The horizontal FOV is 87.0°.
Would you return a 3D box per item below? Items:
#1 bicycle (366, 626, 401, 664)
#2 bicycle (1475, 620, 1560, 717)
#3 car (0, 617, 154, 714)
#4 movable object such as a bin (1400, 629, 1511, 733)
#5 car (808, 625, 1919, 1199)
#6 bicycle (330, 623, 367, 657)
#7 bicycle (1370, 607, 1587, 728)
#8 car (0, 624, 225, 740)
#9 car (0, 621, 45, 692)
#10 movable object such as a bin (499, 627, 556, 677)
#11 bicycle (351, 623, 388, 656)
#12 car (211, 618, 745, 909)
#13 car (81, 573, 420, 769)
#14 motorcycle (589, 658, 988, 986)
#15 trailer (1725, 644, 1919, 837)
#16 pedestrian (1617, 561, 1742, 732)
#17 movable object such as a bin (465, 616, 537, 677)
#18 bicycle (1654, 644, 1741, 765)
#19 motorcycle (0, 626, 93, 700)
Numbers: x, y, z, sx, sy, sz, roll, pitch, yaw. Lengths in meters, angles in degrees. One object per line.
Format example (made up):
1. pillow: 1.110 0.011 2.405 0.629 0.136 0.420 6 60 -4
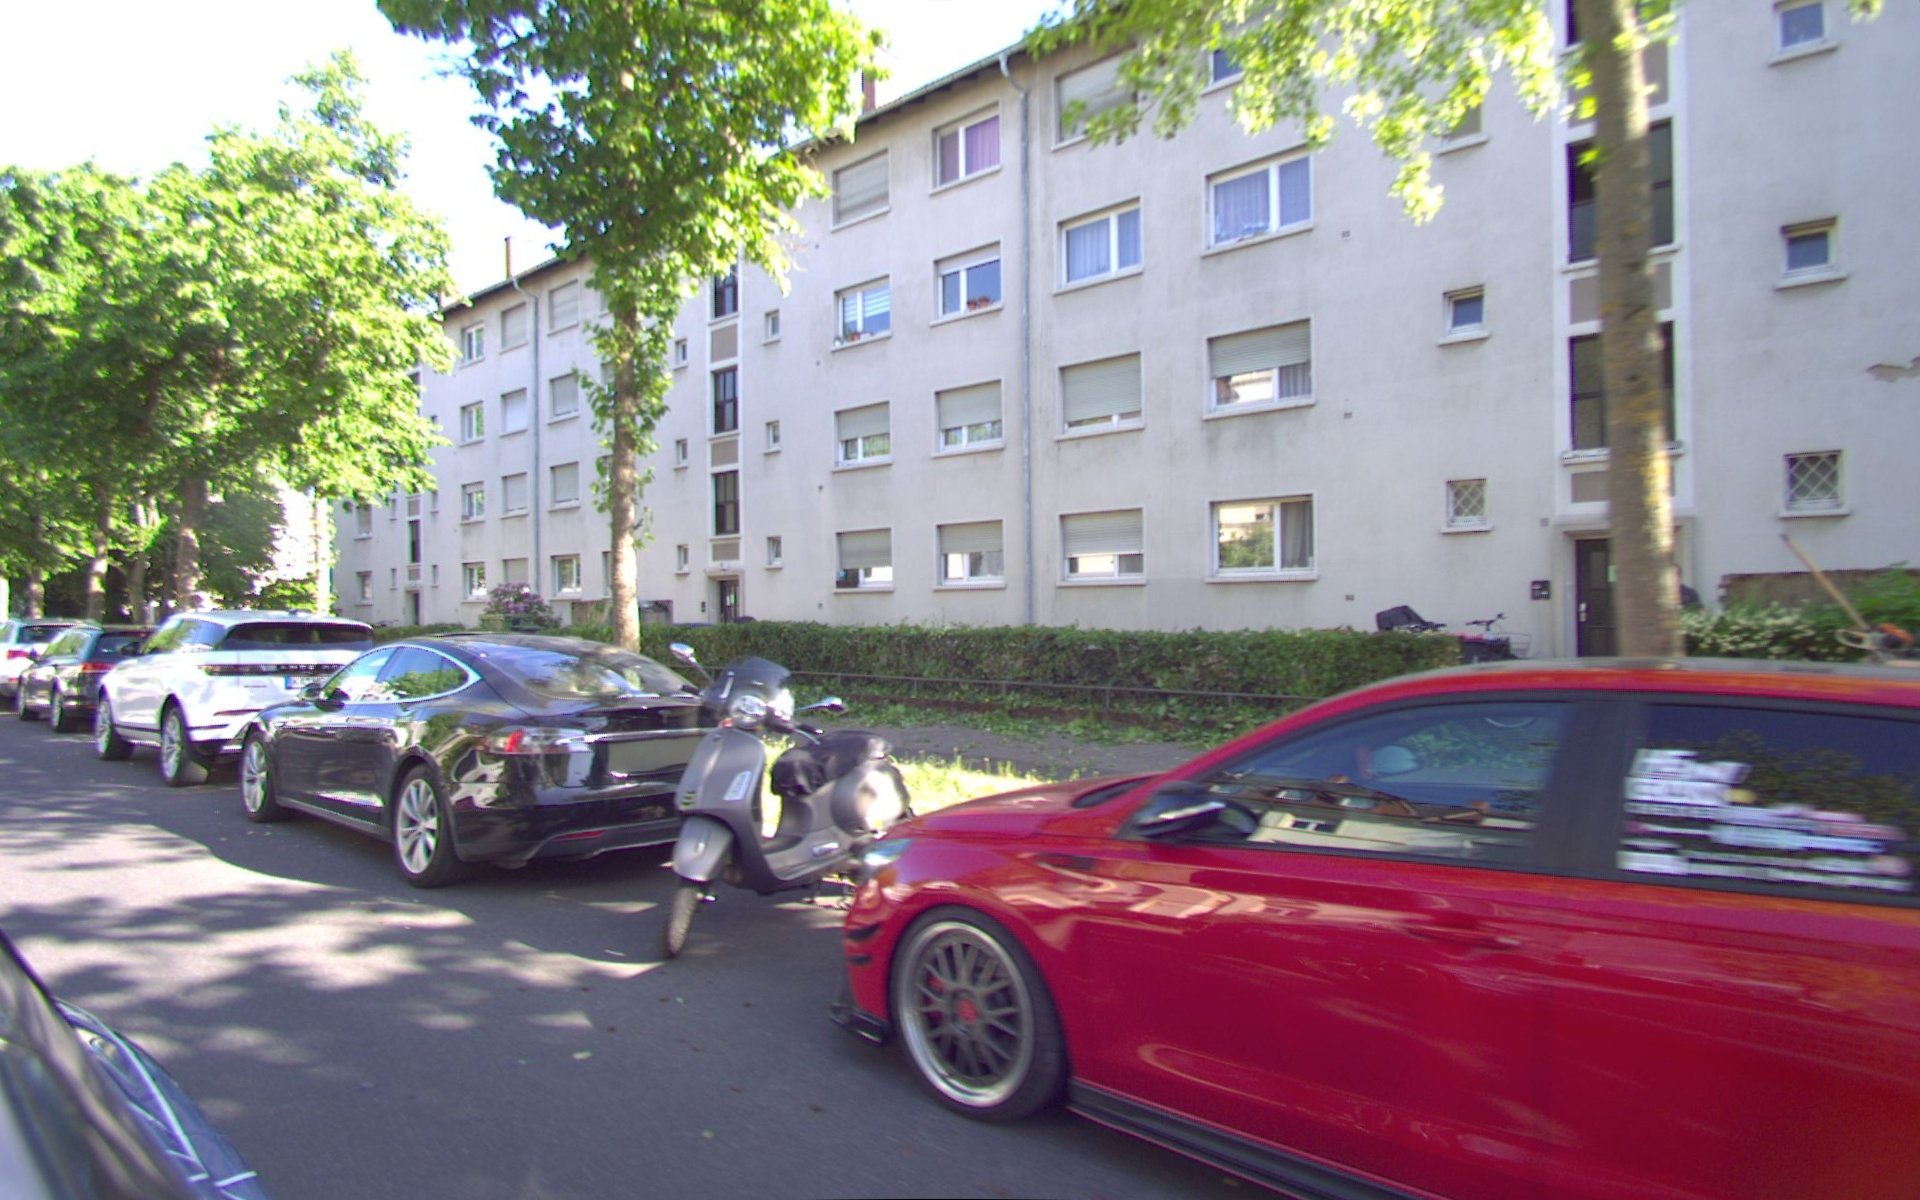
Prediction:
1. bicycle: -20.042 1.545 35.195 1.912 1.299 0.394 -1 -2 39
2. bicycle: 6.935 0.814 12.560 0.587 1.086 1.726 -1 0 40
3. car: -16.708 1.114 18.464 4.714 1.536 2.045 -2 -1 37
4. movable object such as a bin: 5.252 0.827 10.723 0.843 1.041 0.873 -2 -2 42
5. car: 1.676 0.780 2.728 4.259 1.389 1.761 -1 -3 40
6. bicycle: -22.841 1.485 37.802 1.911 1.210 0.678 -2 -2 42
7. bicycle: 5.839 0.723 11.453 1.978 1.240 1.082 -2 -2 42
8. car: -12.711 1.133 15.021 4.815 1.458 1.711 -2 -4 39
9. car: -22.762 1.278 23.274 4.603 1.536 2.022 -1 -1 41
10. movable object such as a bin: -9.675 1.149 22.668 0.753 1.100 0.922 -1 -2 34
11. bicycle: -22.381 1.478 38.330 1.911 1.210 0.678 -2 -2 42
12. car: -3.720 0.933 7.374 4.615 1.489 1.710 -1 -5 40
13. car: -7.465 0.652 10.485 4.361 1.630 1.711 -1 -3 39
14. motorcycle: -0.738 0.963 5.291 0.805 1.280 2.270 -1 -3 29
15. trailer: 6.628 0.825 5.935 3.280 1.041 1.770 -1 -1 42
16. pedestrian: 8.525 0.533 11.993 0.922 1.902 1.027 1 -2 -44
17. movable object such as a bin: -10.548 1.050 23.262 1.376 1.334 0.922 -1 -2 35
18. bicycle: 6.851 0.913 9.369 0.514 0.924 1.928 -1 0 40
19. motorcycle: -19.649 1.295 21.140 2.202 1.515 0.989 0 -2 0
